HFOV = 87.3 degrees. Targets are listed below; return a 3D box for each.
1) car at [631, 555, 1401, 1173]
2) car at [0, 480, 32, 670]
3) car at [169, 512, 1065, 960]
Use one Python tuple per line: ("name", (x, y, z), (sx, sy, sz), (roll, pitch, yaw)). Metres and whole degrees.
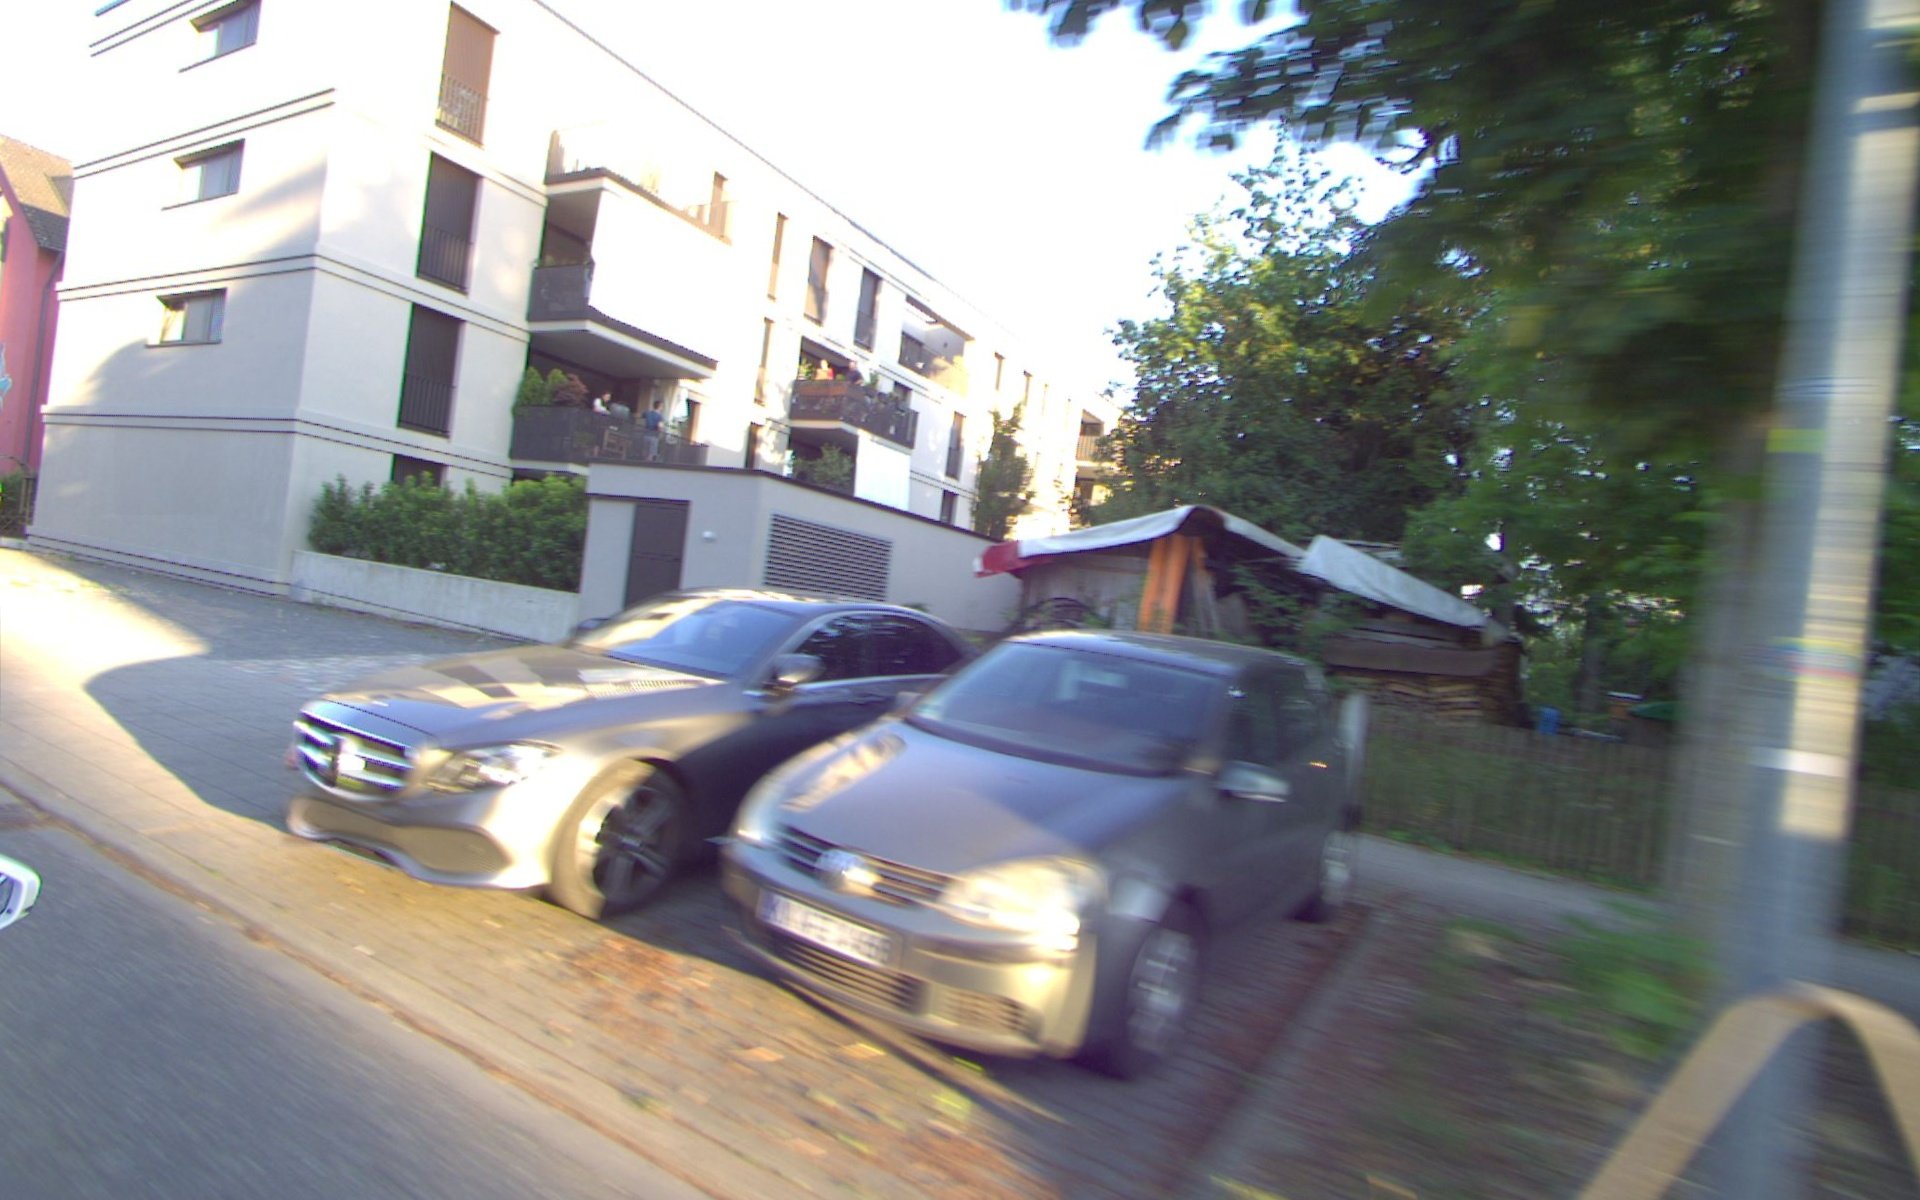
("car", (0.717, 0.827, 4.859), (1.741, 1.520, 4.057), (8, 1, 34))
("car", (-9.485, -0.449, 8.256), (3.696, 1.487, 1.743), (7, -1, 32))
("car", (-1.335, 0.584, 5.896), (1.741, 1.415, 4.821), (8, 1, 33))
